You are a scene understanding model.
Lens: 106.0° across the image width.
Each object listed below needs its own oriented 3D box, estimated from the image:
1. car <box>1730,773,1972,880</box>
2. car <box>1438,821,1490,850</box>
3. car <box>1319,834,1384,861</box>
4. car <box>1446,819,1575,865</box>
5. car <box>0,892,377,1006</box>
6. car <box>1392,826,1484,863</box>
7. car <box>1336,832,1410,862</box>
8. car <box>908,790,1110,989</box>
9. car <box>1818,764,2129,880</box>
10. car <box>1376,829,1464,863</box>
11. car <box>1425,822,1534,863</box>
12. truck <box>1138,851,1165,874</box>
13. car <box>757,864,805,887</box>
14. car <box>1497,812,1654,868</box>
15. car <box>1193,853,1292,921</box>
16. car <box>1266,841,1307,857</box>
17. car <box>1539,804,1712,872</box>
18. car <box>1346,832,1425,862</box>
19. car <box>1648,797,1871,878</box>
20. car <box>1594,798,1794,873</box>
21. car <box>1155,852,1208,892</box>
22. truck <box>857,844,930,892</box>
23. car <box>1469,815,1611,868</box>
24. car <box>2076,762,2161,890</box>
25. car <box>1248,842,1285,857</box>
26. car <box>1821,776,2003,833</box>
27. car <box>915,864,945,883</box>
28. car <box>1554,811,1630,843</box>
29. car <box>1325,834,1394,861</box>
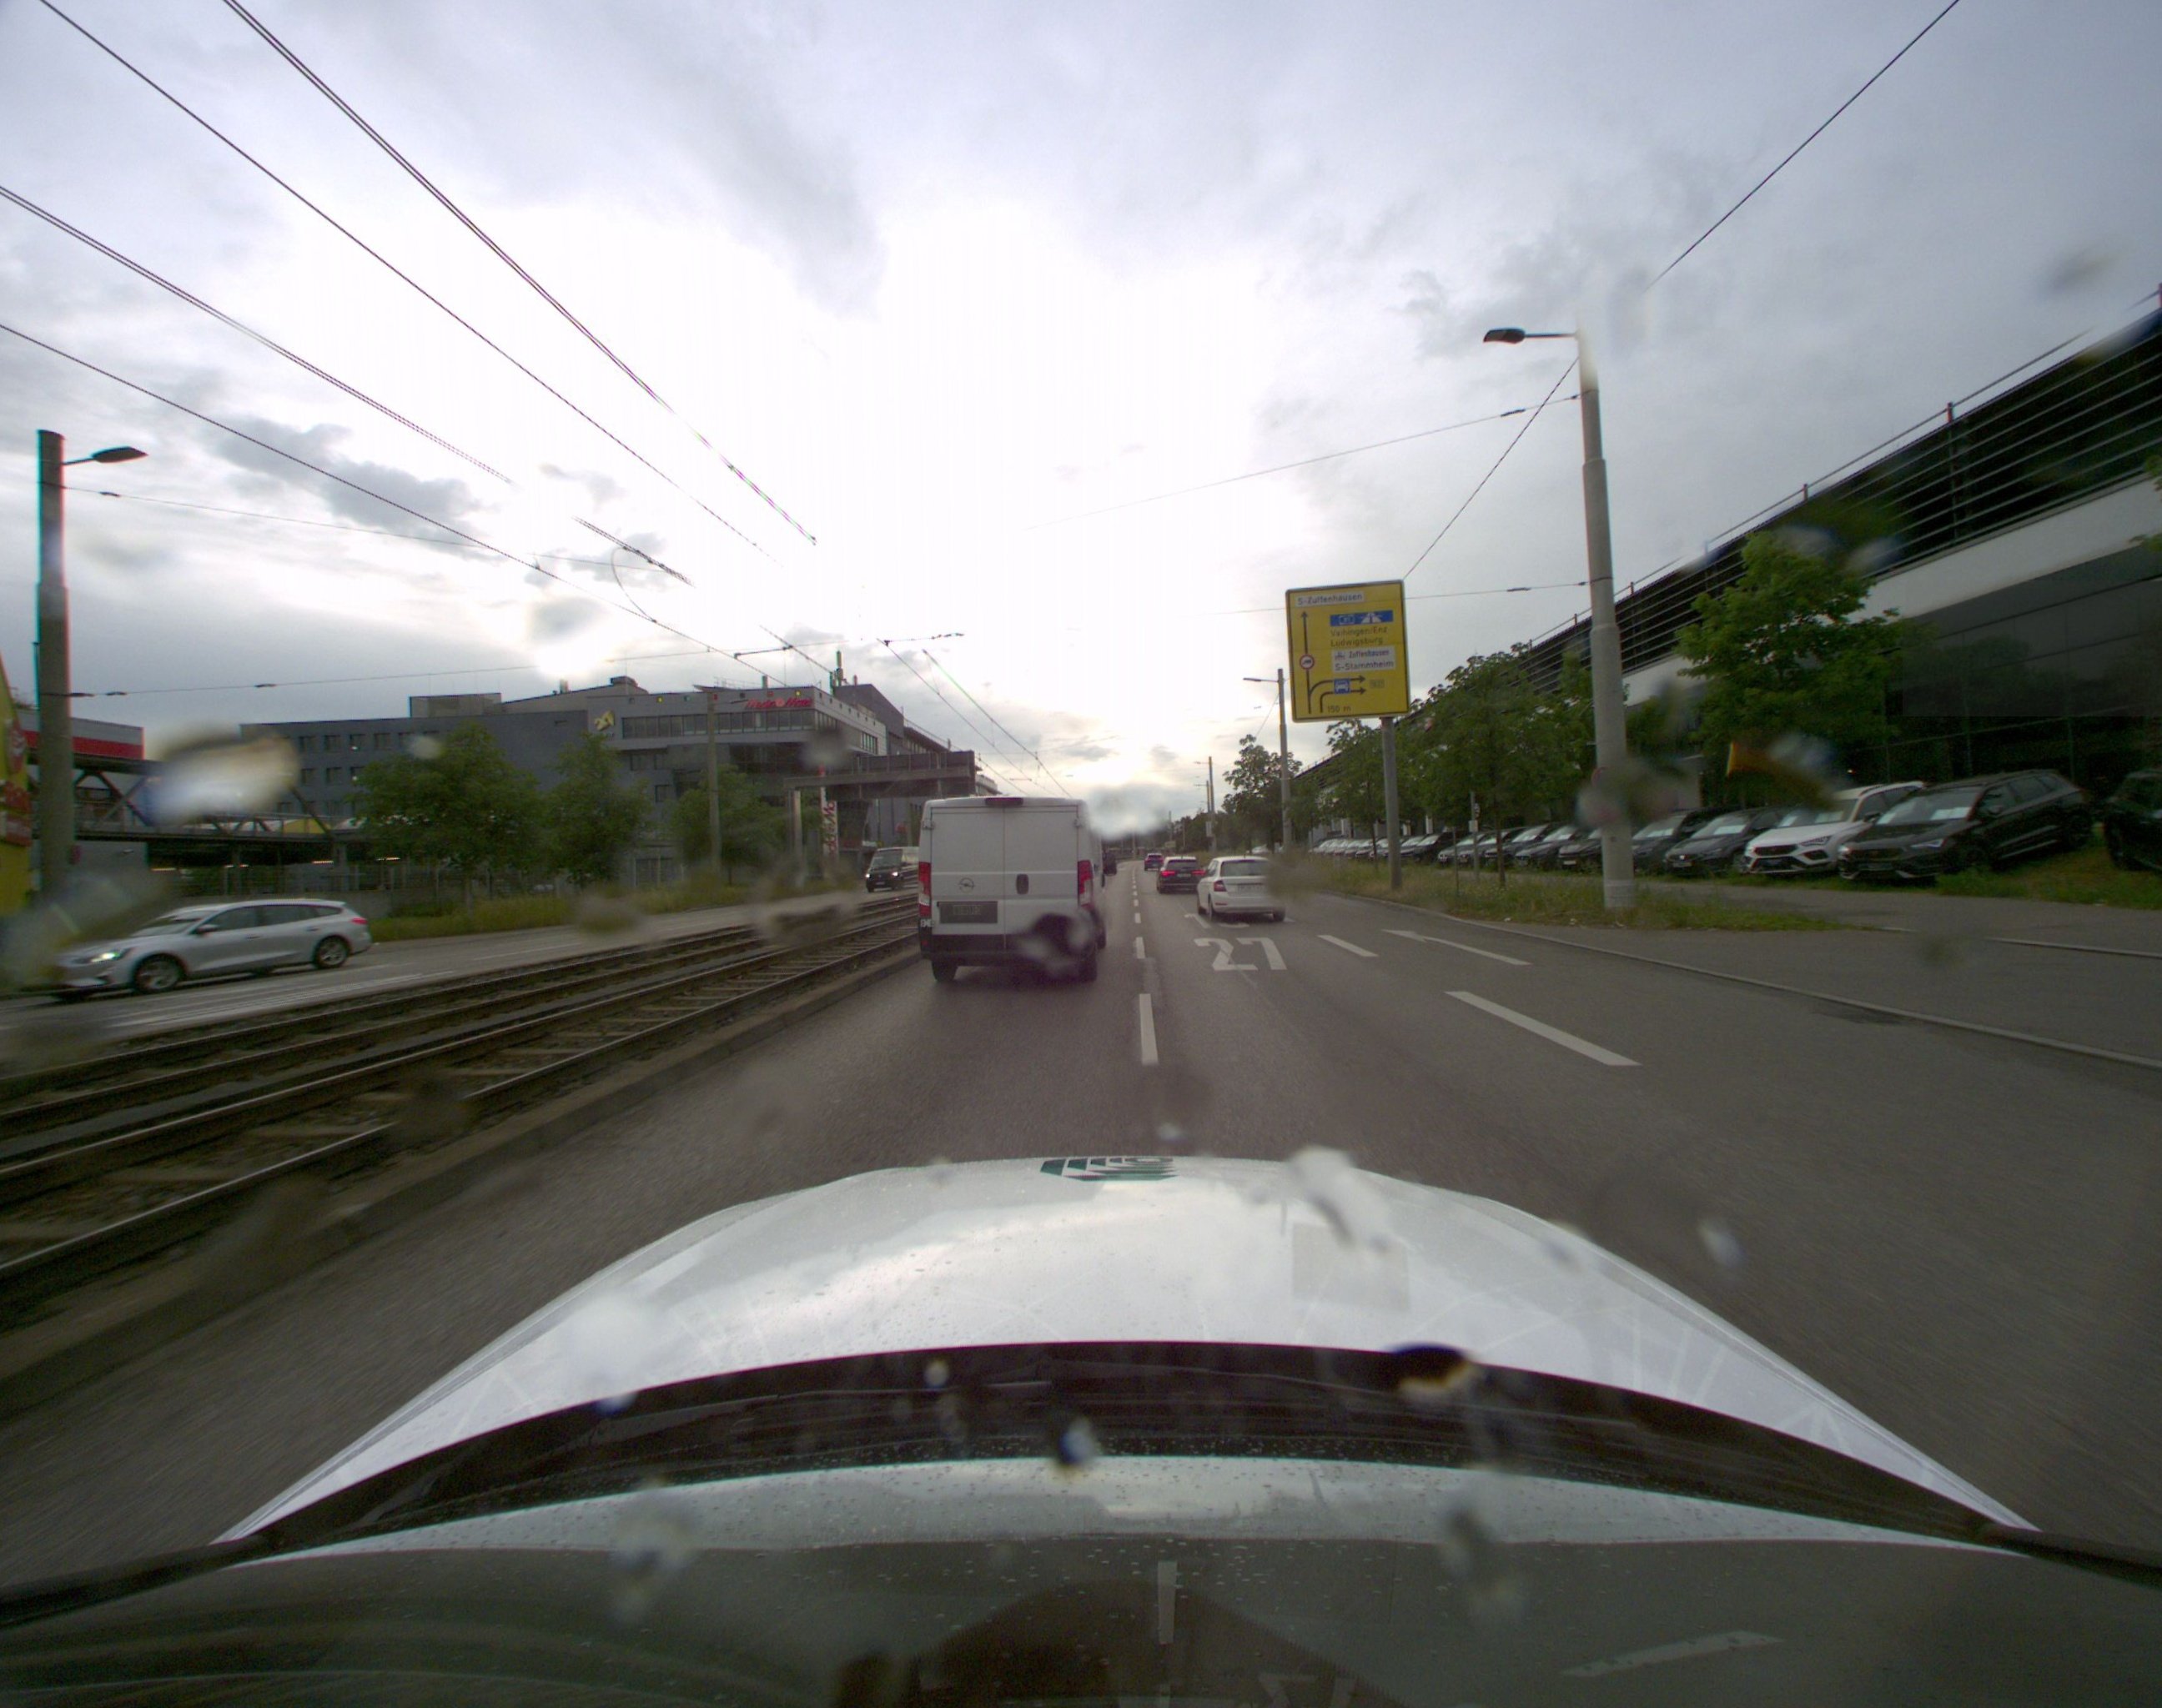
[{"bbox_3d":[16.967,-0.595,17.983,4.496,1.991,1.811,-4,0,-17],"label":"car"},{"bbox_3d":[28.269,-1.338,60.286,1.879,1.938,4.433,-3,0,3],"label":"car"},{"bbox_3d":[19.288,-0.431,58.133,4.155,1.604,1.813,-4,0,-21],"label":"car"},{"bbox_3d":[17.828,-0.490,33.906,4.483,1.569,1.816,-4,0,-8],"label":"car"},{"bbox_3d":[-16.059,1.604,15.031,1.887,1.488,4.432,-3,0,7],"label":"car"},{"bbox_3d":[18.086,-0.462,41.305,4.053,1.576,1.723,-4,0,-16],"label":"car"},{"bbox_3d":[18.741,-0.445,52.373,4.153,1.569,1.896,-4,0,-20],"label":"car"},{"bbox_3d":[-0.716,0.385,11.558,2.081,2.196,5.066,-1,0,4],"label":"car"},{"bbox_3d":[16.722,-0.584,15.341,4.378,1.789,1.872,-4,0,-11],"label":"car"},{"bbox_3d":[18.327,-0.439,44.098,4.148,1.534,1.784,-4,0,-16],"label":"car"},{"bbox_3d":[17.660,-0.476,36.191,4.042,1.501,1.682,-4,0,-8],"label":"car"},{"bbox_3d":[6.005,0.676,69.637,1.986,1.790,4.416,-3,0,2],"label":"truck"},{"bbox_3d":[-29.713,2.099,80.705,3.978,2.013,1.998,-3,0,-3],"label":"car"},{"bbox_3d":[17.456,-0.481,28.848,4.479,1.619,1.818,-4,0,-6],"label":"car"},{"bbox_3d":[3.709,0.706,19.309,1.740,1.457,3.673,0,0,2],"label":"car"},{"bbox_3d":[22.017,-0.558,87.336,4.112,1.465,1.731,-4,-1,-29],"label":"car"},{"bbox_3d":[17.349,-0.494,26.047,4.483,1.795,1.816,-4,0,-9],"label":"car"},{"bbox_3d":[18.545,-0.410,49.609,4.148,1.528,1.821,-4,0,-16],"label":"car"},{"bbox_3d":[16.953,-0.402,20.418,4.487,1.637,1.814,-4,0,-11],"label":"car"},{"bbox_3d":[17.231,-0.504,22.972,4.483,1.752,1.816,-4,0,-9],"label":"car"},{"bbox_3d":[3.932,0.673,32.436,1.782,1.449,4.003,-1,0,3],"label":"car"},{"bbox_3d":[-11.277,0.796,49.698,2.229,2.564,7.022,-4,0,4],"label":"truck"},{"bbox_3d":[17.541,-0.477,31.220,4.483,1.663,1.816,-4,0,-8],"label":"car"},{"bbox_3d":[16.409,-0.485,11.545,1.854,1.816,4.419,-4,0,37],"label":"car"},{"bbox_3d":[22.044,-0.533,96.717,4.116,1.568,1.780,-4,-1,-33],"label":"car"},{"bbox_3d":[25.781,-1.470,25.475,1.772,1.472,3.902,-3,0,3],"label":"car"},{"bbox_3d":[-12.458,1.585,67.374,1.799,1.429,4.230,-4,0,-4],"label":"car"},{"bbox_3d":[26.881,-1.382,42.974,1.658,1.472,3.902,-3,0,3],"label":"car"},{"bbox_3d":[18.913,-0.438,55.258,4.155,1.569,1.813,-4,0,-21],"label":"car"}]
